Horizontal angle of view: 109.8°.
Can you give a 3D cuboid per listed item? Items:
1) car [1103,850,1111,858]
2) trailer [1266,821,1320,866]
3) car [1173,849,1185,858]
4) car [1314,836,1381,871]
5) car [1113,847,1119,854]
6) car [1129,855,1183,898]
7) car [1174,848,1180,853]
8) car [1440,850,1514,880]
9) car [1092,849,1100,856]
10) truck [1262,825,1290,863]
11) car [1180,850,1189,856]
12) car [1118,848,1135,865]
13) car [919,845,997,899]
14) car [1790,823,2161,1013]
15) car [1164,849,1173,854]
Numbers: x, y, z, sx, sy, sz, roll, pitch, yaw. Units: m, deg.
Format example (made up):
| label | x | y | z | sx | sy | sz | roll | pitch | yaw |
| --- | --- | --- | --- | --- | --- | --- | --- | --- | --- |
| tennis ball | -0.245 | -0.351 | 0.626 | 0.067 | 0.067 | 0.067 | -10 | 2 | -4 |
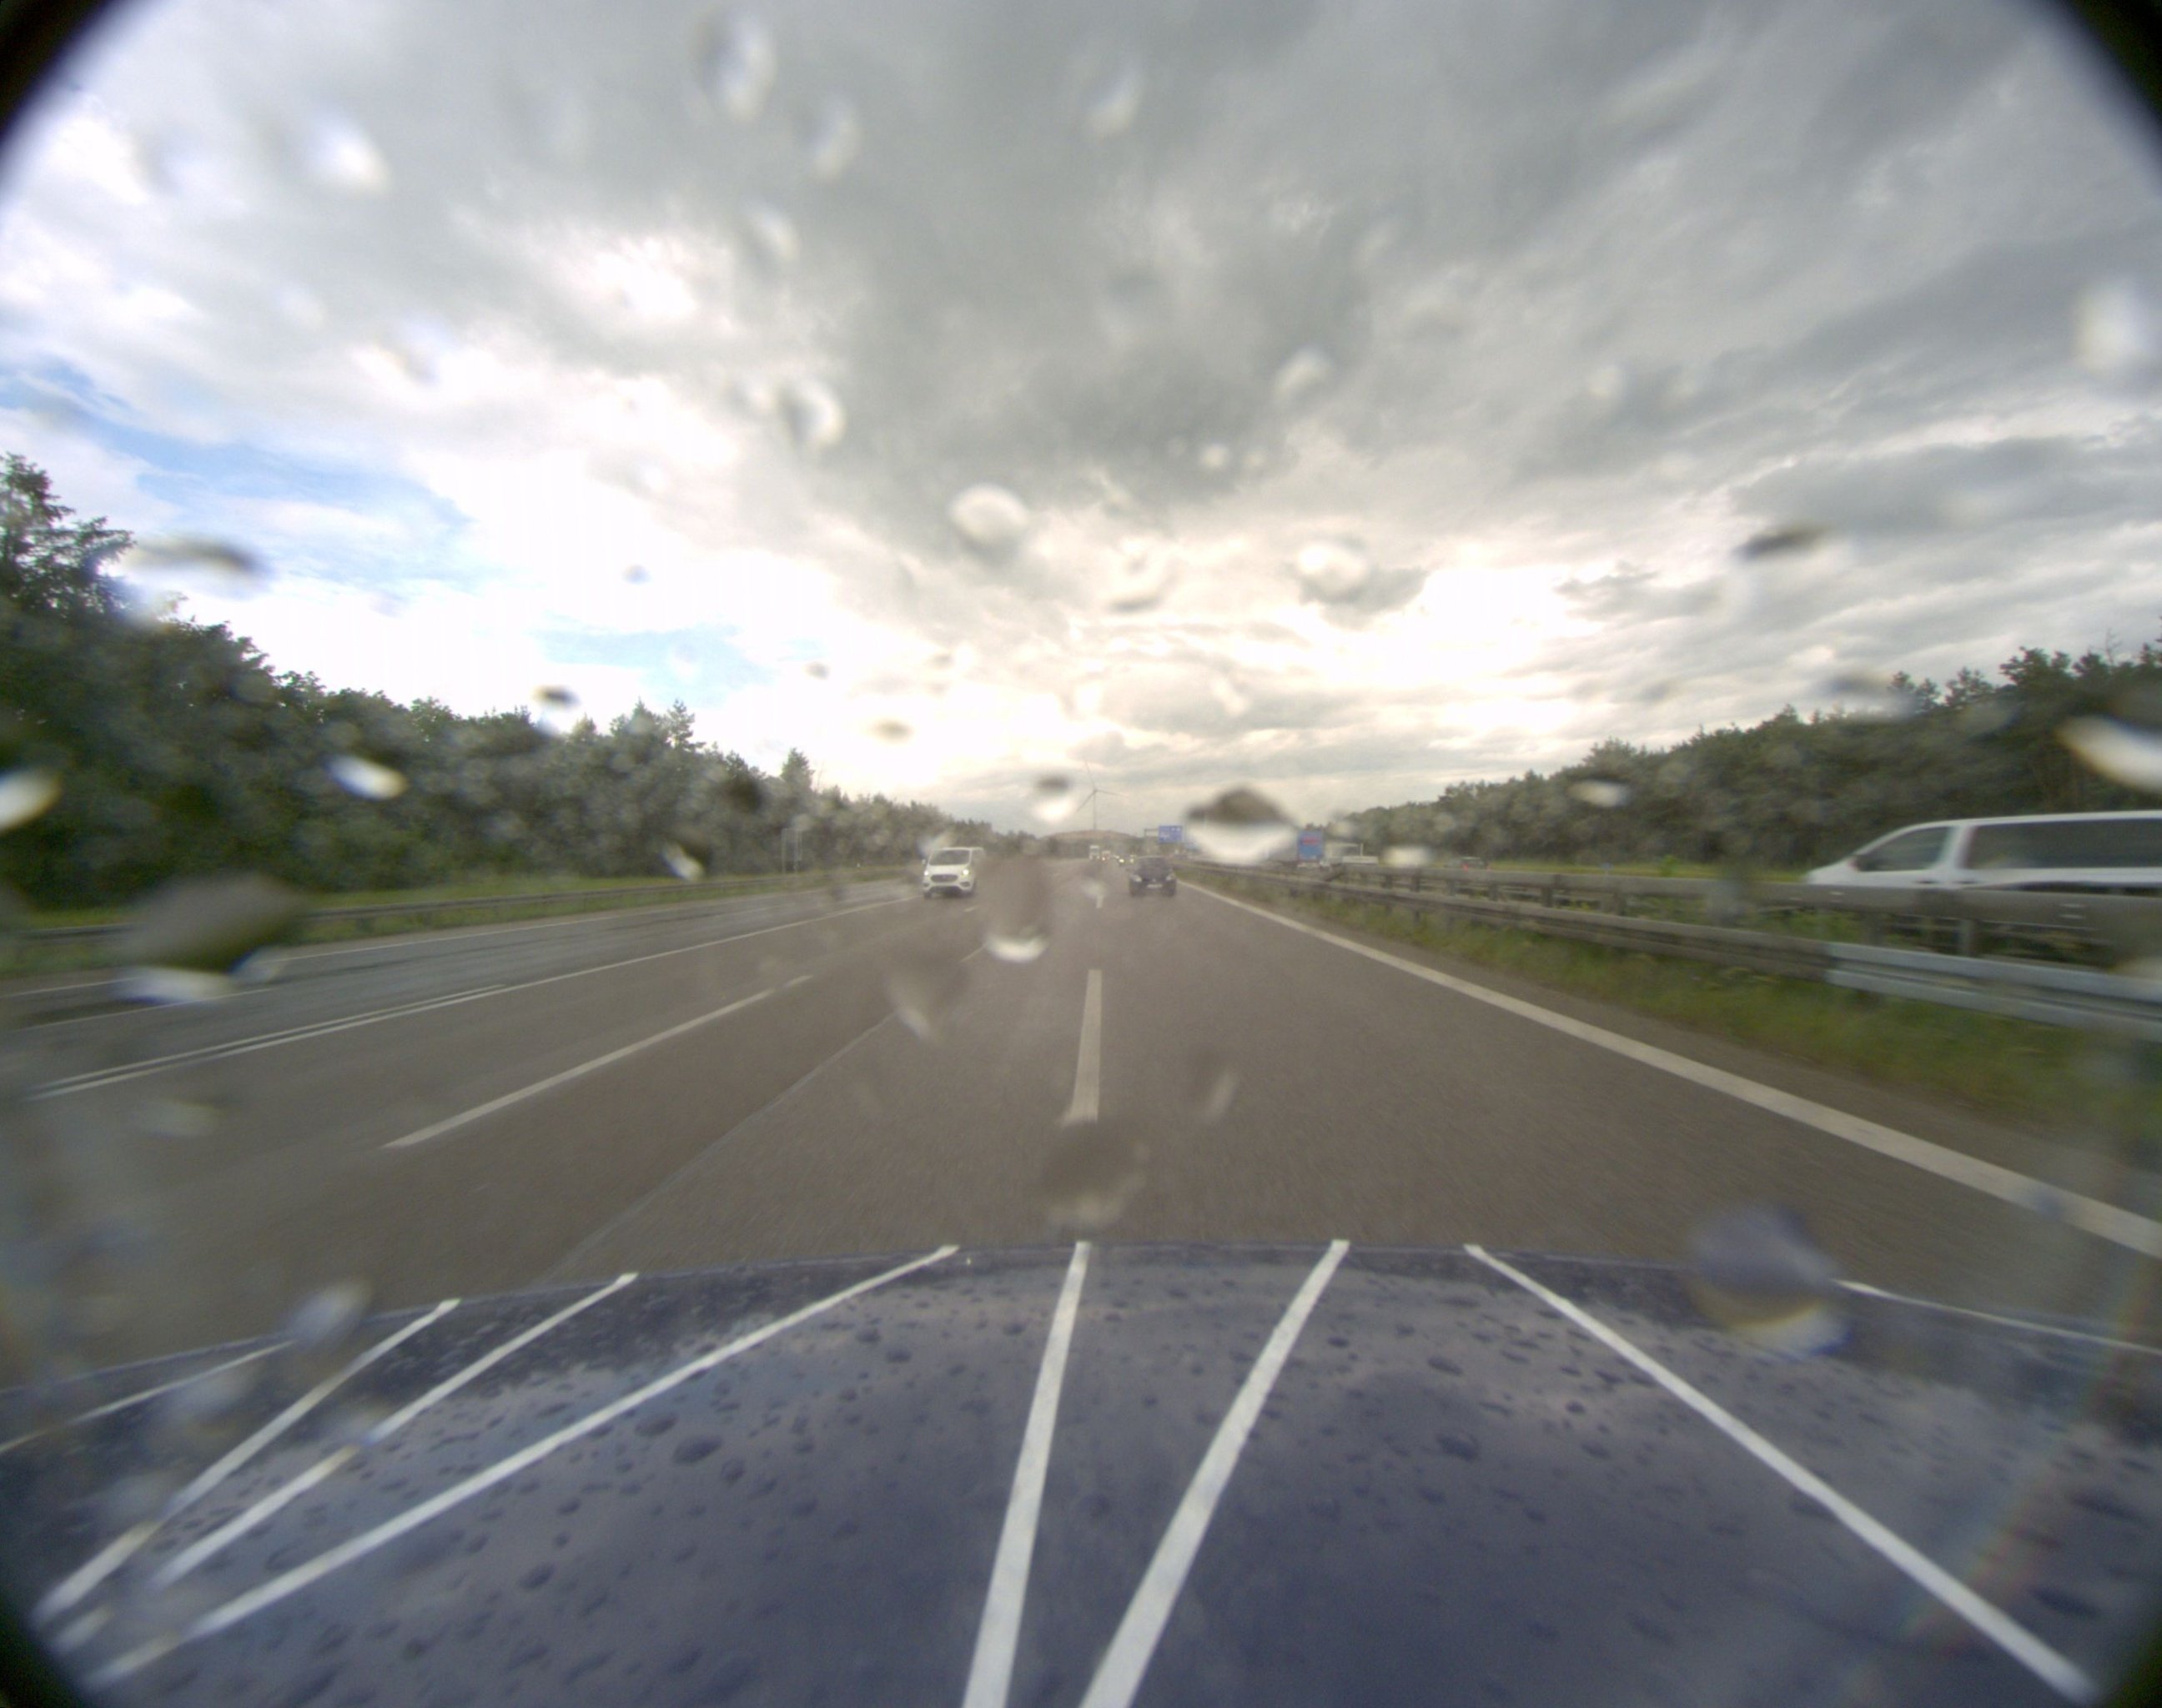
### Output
| label | x | y | z | sx | sy | sz | roll | pitch | yaw |
| --- | --- | --- | --- | --- | --- | --- | --- | --- | --- |
| car | 6.319 | -0.016 | 185.020 | 1.998 | 2.002 | 4.000 | -1 | 1 | 1 |
| trailer | 22.374 | -1.121 | 81.118 | 2.103 | 4.216 | 14.626 | -3 | 1 | 3 |
| car | 19.515 | -0.113 | 151.318 | 1.864 | 1.652 | 4.472 | 0 | 0 | 1 |
| car | 17.084 | -0.057 | 49.108 | 2.288 | 2.002 | 6.740 | -3 | 0 | 4 |
| car | 11.148 | -1.153 | 243.174 | 1.998 | 2.002 | 4.000 | -1 | 1 | 1 |
| car | 2.721 | 0.769 | 28.295 | 1.809 | 1.321 | 4.432 | -2 | 1 | 4 |
| car | 30.423 | -1.142 | 240.073 | 1.641 | 1.463 | 4.402 | -1 | 0 | 5 |
| car | 21.058 | 0.537 | 40.630 | 1.676 | 1.451 | 4.561 | -1 | 1 | 1 |
| car | 4.033 | -0.413 | 202.234 | 1.998 | 2.002 | 4.000 | -1 | 1 | 1 |
| truck | 22.727 | -1.206 | 88.698 | 2.144 | 4.213 | 4.707 | -3 | 1 | 3 |
| car | 26.237 | -0.333 | 193.008 | 1.920 | 1.448 | 4.652 | -1 | 0 | 3 |
| car | 5.494 | 0.276 | 91.946 | 1.998 | 2.002 | 4.000 | -2 | 0 | 3 |
| car | -4.991 | 0.663 | 31.729 | 1.998 | 2.002 | 5.484 | -2 | 0 | 4 |
| car | 11.499 | 0.623 | 8.877 | 1.902 | 1.857 | 4.897 | 0 | 0 | 1 |
| car | 22.328 | -0.687 | 194.795 | 1.920 | 1.357 | 4.652 | -1 | 0 | 3 |
